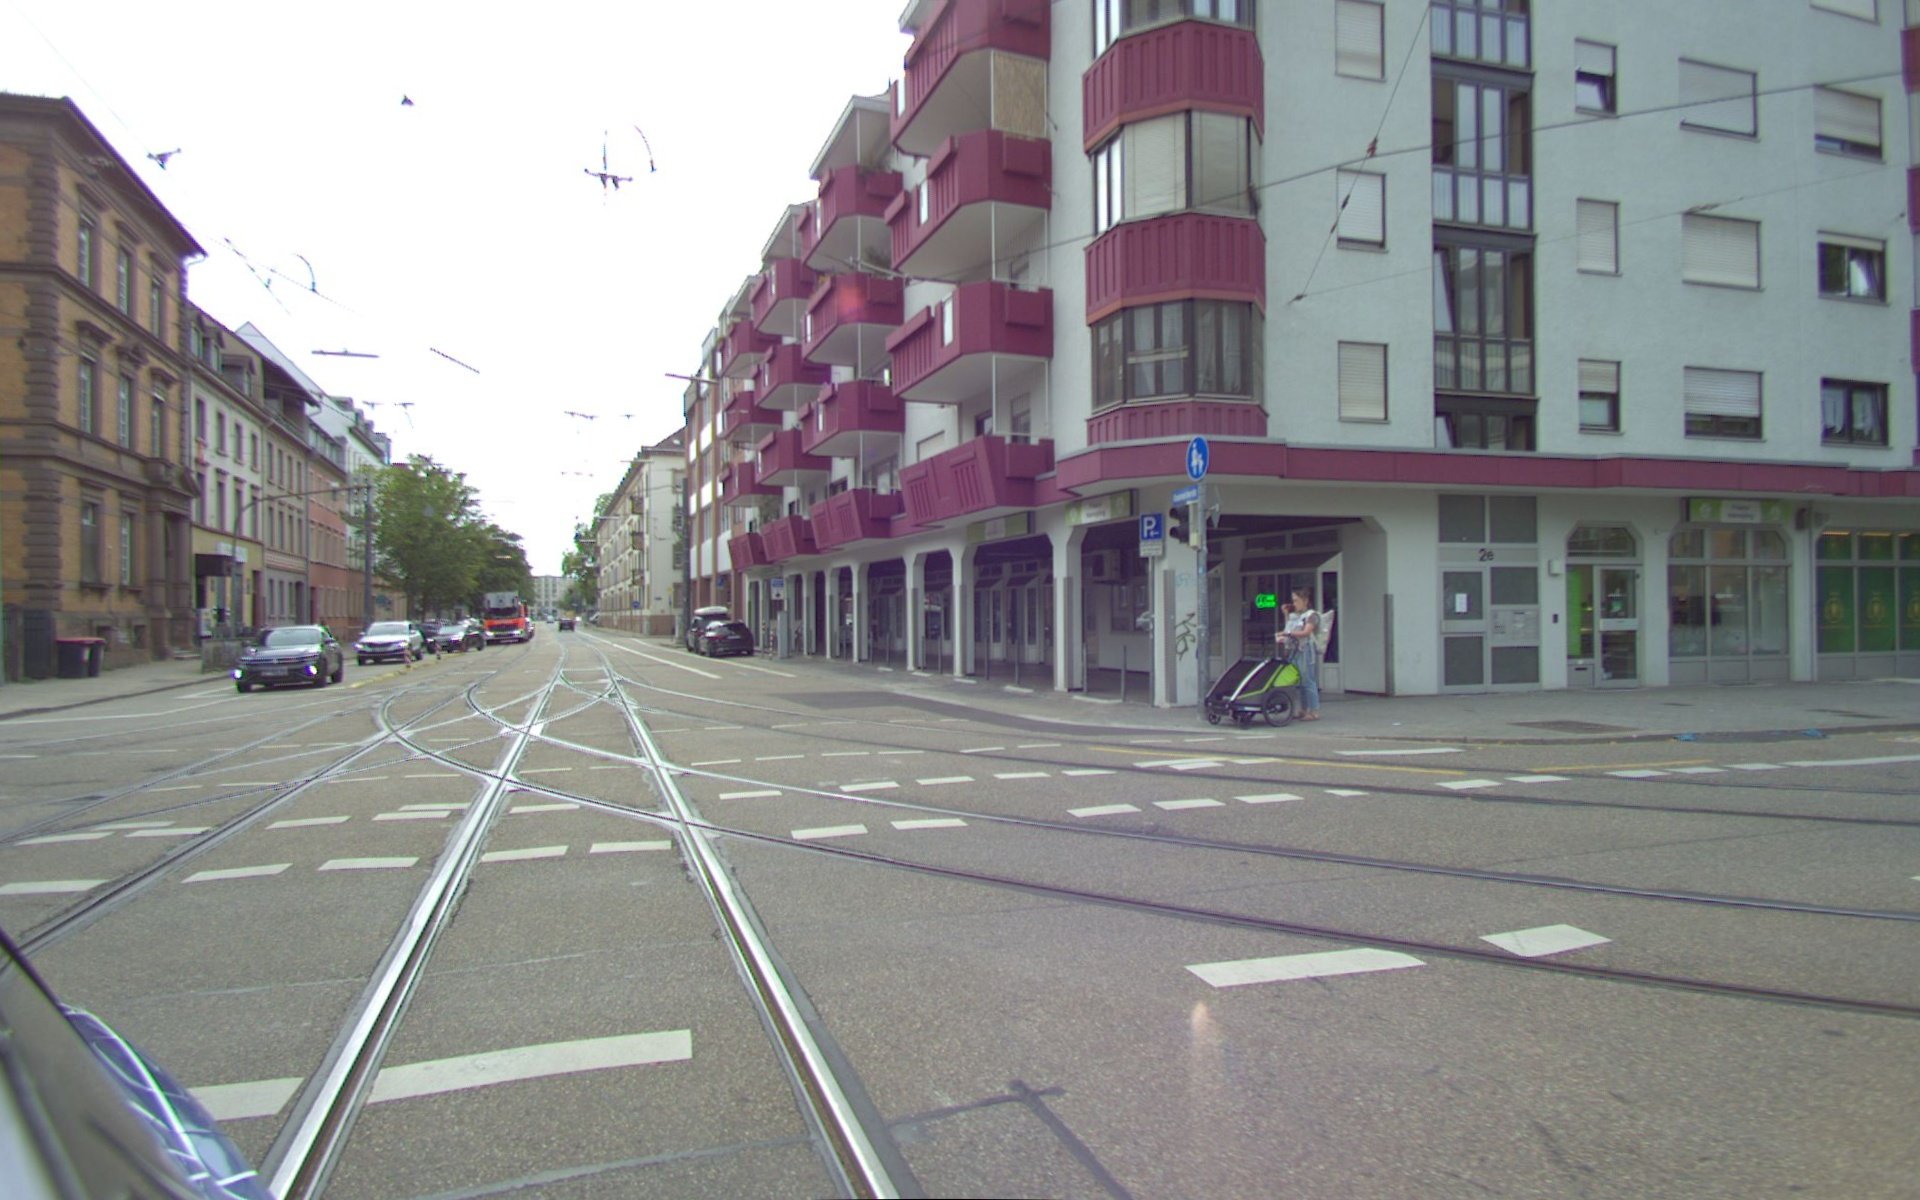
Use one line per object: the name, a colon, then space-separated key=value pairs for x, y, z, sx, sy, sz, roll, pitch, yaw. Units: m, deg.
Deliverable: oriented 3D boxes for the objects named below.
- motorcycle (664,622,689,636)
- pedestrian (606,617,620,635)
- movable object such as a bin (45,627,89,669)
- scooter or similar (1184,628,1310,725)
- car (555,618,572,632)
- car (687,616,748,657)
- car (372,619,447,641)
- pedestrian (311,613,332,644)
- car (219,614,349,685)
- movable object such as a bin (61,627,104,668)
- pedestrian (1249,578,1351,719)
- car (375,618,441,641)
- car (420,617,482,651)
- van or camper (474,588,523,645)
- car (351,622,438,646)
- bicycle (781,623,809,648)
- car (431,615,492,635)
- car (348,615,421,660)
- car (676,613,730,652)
motorcycle: x=-23.467 y=2.384 z=83.797 sx=1.892 sy=1.094 sz=0.795 roll=0 pitch=-1 yaw=-21
pedestrian: x=-35.562 y=2.678 z=103.709 sx=0.985 sy=1.856 sz=1.021 roll=1 pitch=-1 yaw=-38
movable object such as a bin: x=-23.935 y=1.288 z=27.141 sx=0.641 sy=1.090 sz=0.680 roll=4 pitch=-2 yaw=-25
scooter or similar: x=3.640 y=0.940 z=12.872 sx=1.179 sy=1.137 sz=0.950 roll=-1 pitch=-1 yaw=-22
car: x=-45.462 y=2.842 z=116.062 sx=1.744 sy=1.549 sz=4.062 roll=-2 pitch=-1 yaw=-21
car: x=-10.025 y=1.471 z=41.654 sx=1.730 sy=1.491 sz=4.713 roll=-2 pitch=0 yaw=-22
car: x=-39.103 y=2.145 z=71.954 sx=1.790 sy=1.491 sz=4.282 roll=-1 pitch=-3 yaw=45
pedestrian: x=-35.956 y=1.620 z=56.977 sx=0.720 sy=1.701 sz=0.929 roll=4 pitch=-3 yaw=-22
car: x=-16.762 y=1.173 z=25.316 sx=1.744 sy=1.559 sz=4.296 roll=-2 pitch=-1 yaw=-21
movable object such as a bin: x=-24.130 y=1.306 z=27.834 sx=0.654 sy=1.090 sz=0.703 roll=4 pitch=-2 yaw=-25
pedestrian: x=4.435 y=0.614 z=13.241 sx=0.934 sy=1.757 sz=0.815 roll=0 pitch=-1 yaw=-24
car: x=-42.682 y=2.293 z=78.315 sx=1.740 sy=1.711 sz=4.177 roll=-1 pitch=-3 yaw=45
car: x=-25.589 y=1.685 z=51.003 sx=1.745 sy=1.546 sz=4.058 roll=-2 pitch=-1 yaw=-12
van or camper: x=-30.182 y=1.097 z=66.484 sx=2.564 sy=3.447 sz=9.684 roll=0 pitch=-1 yaw=-22
car: x=-36.492 y=2.202 z=65.410 sx=1.790 sy=1.484 sz=4.561 roll=-1 pitch=-3 yaw=45
bicycle: x=-6.479 y=1.380 z=39.731 sx=0.556 sy=0.960 sz=1.655 roll=0 pitch=-1 yaw=-28
car: x=-44.928 y=2.300 z=91.334 sx=1.918 sy=1.711 sz=4.561 roll=-1 pitch=-3 yaw=45
car: x=-22.521 y=1.437 z=39.738 sx=1.744 sy=1.603 sz=4.295 roll=-2 pitch=-1 yaw=-19
car: x=-11.999 y=1.468 z=47.040 sx=1.781 sy=1.659 sz=4.713 roll=-2 pitch=0 yaw=-22
